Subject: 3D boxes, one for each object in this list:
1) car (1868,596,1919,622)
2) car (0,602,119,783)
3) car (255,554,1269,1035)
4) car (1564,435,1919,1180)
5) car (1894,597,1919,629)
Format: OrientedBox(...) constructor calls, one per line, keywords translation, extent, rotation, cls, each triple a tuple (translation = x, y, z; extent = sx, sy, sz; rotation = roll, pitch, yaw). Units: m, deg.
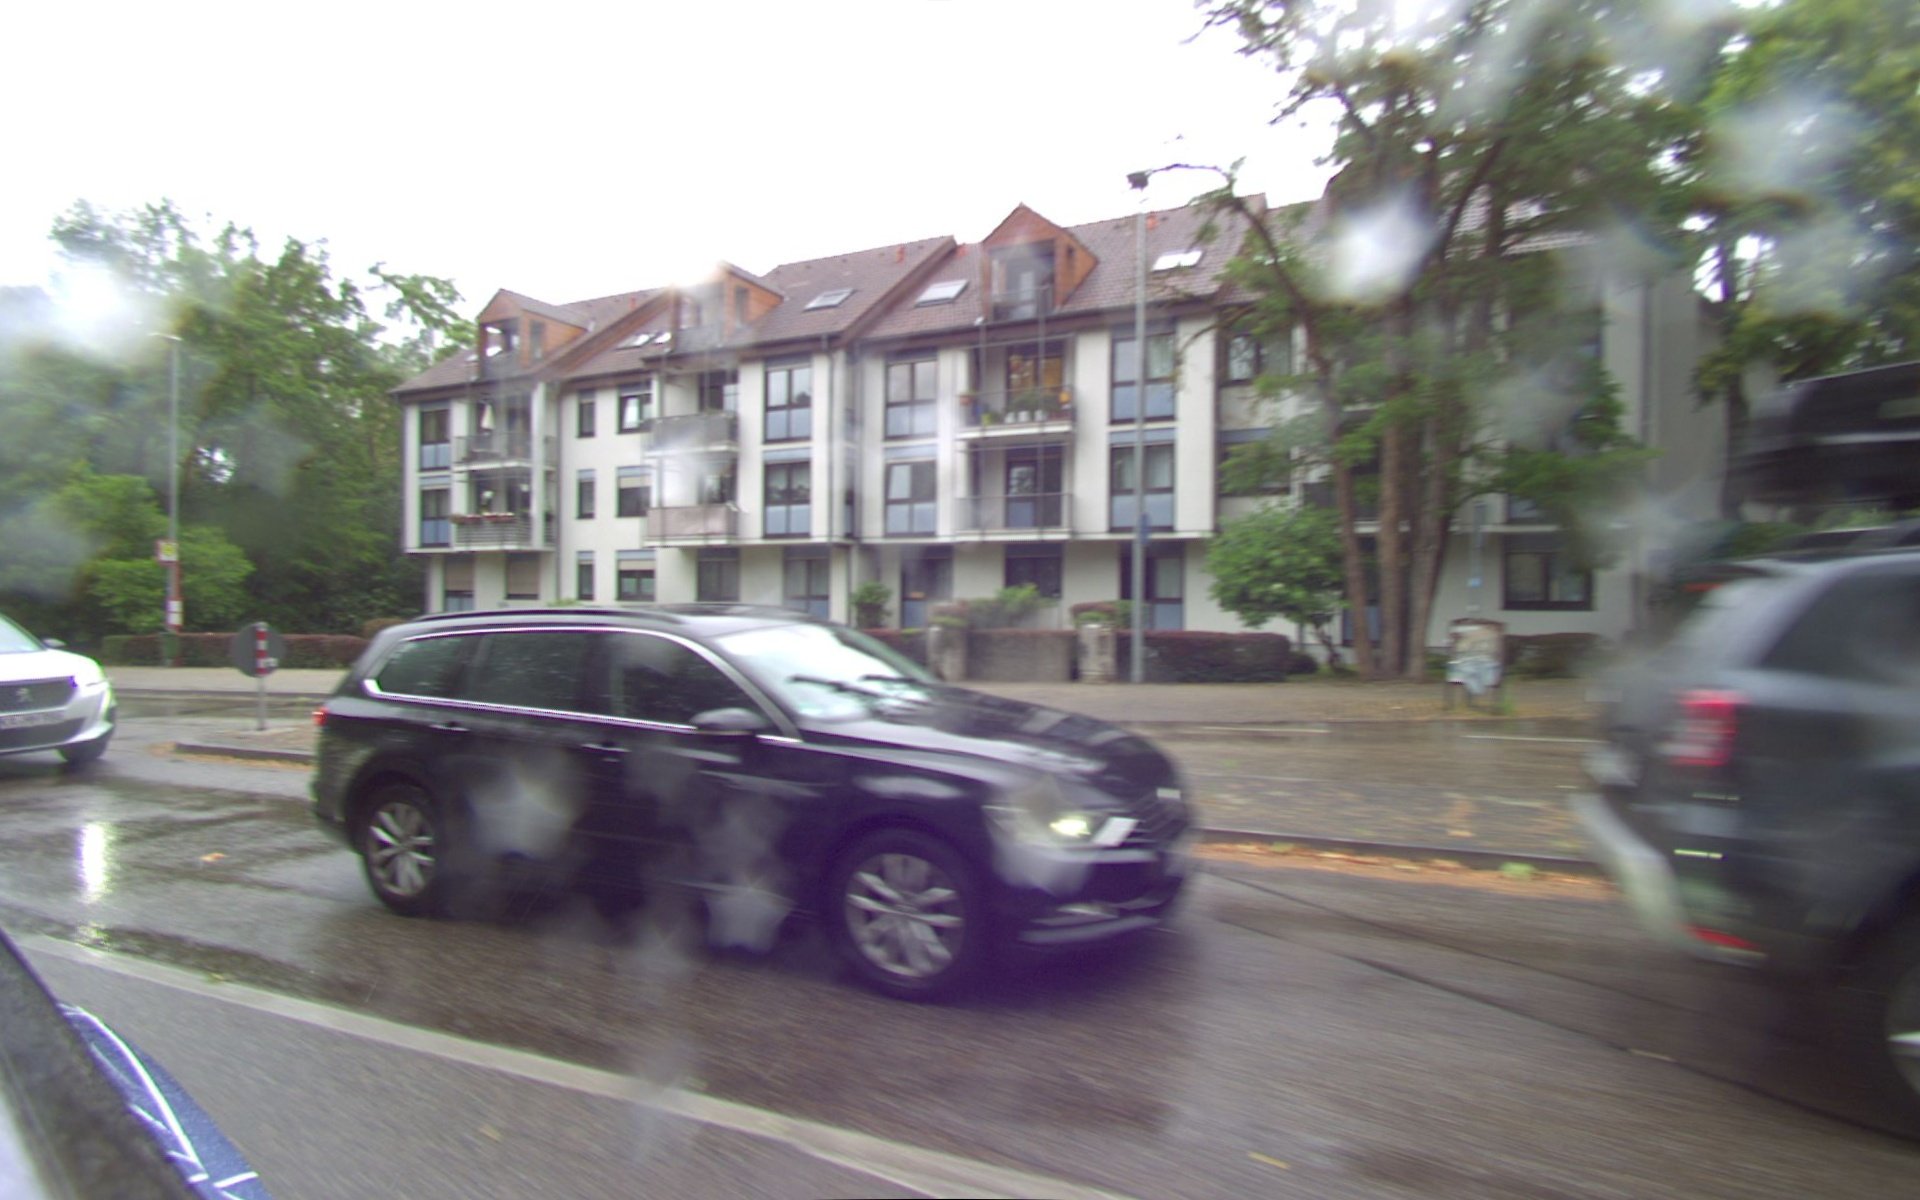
OrientedBox(translation=(53.092, 0.511, 57.136), extent=(1.751, 1.409, 3.962), rotation=(0, -1, 28), cls="car")
OrientedBox(translation=(-10.173, 0.823, 9.588), extent=(4.343, 1.547, 1.743), rotation=(-1, -2, 26), cls="car")
OrientedBox(translation=(-1.044, 0.636, 4.915), extent=(4.632, 1.467, 1.822), rotation=(-2, 1, 26), cls="car")
OrientedBox(translation=(4.238, 0.408, 2.389), extent=(4.572, 1.724, 1.752), rotation=(-2, 0, 24), cls="car")
OrientedBox(translation=(50.724, 0.705, 52.836), extent=(1.809, 1.658, 3.963), rotation=(0, -1, 27), cls="car")
